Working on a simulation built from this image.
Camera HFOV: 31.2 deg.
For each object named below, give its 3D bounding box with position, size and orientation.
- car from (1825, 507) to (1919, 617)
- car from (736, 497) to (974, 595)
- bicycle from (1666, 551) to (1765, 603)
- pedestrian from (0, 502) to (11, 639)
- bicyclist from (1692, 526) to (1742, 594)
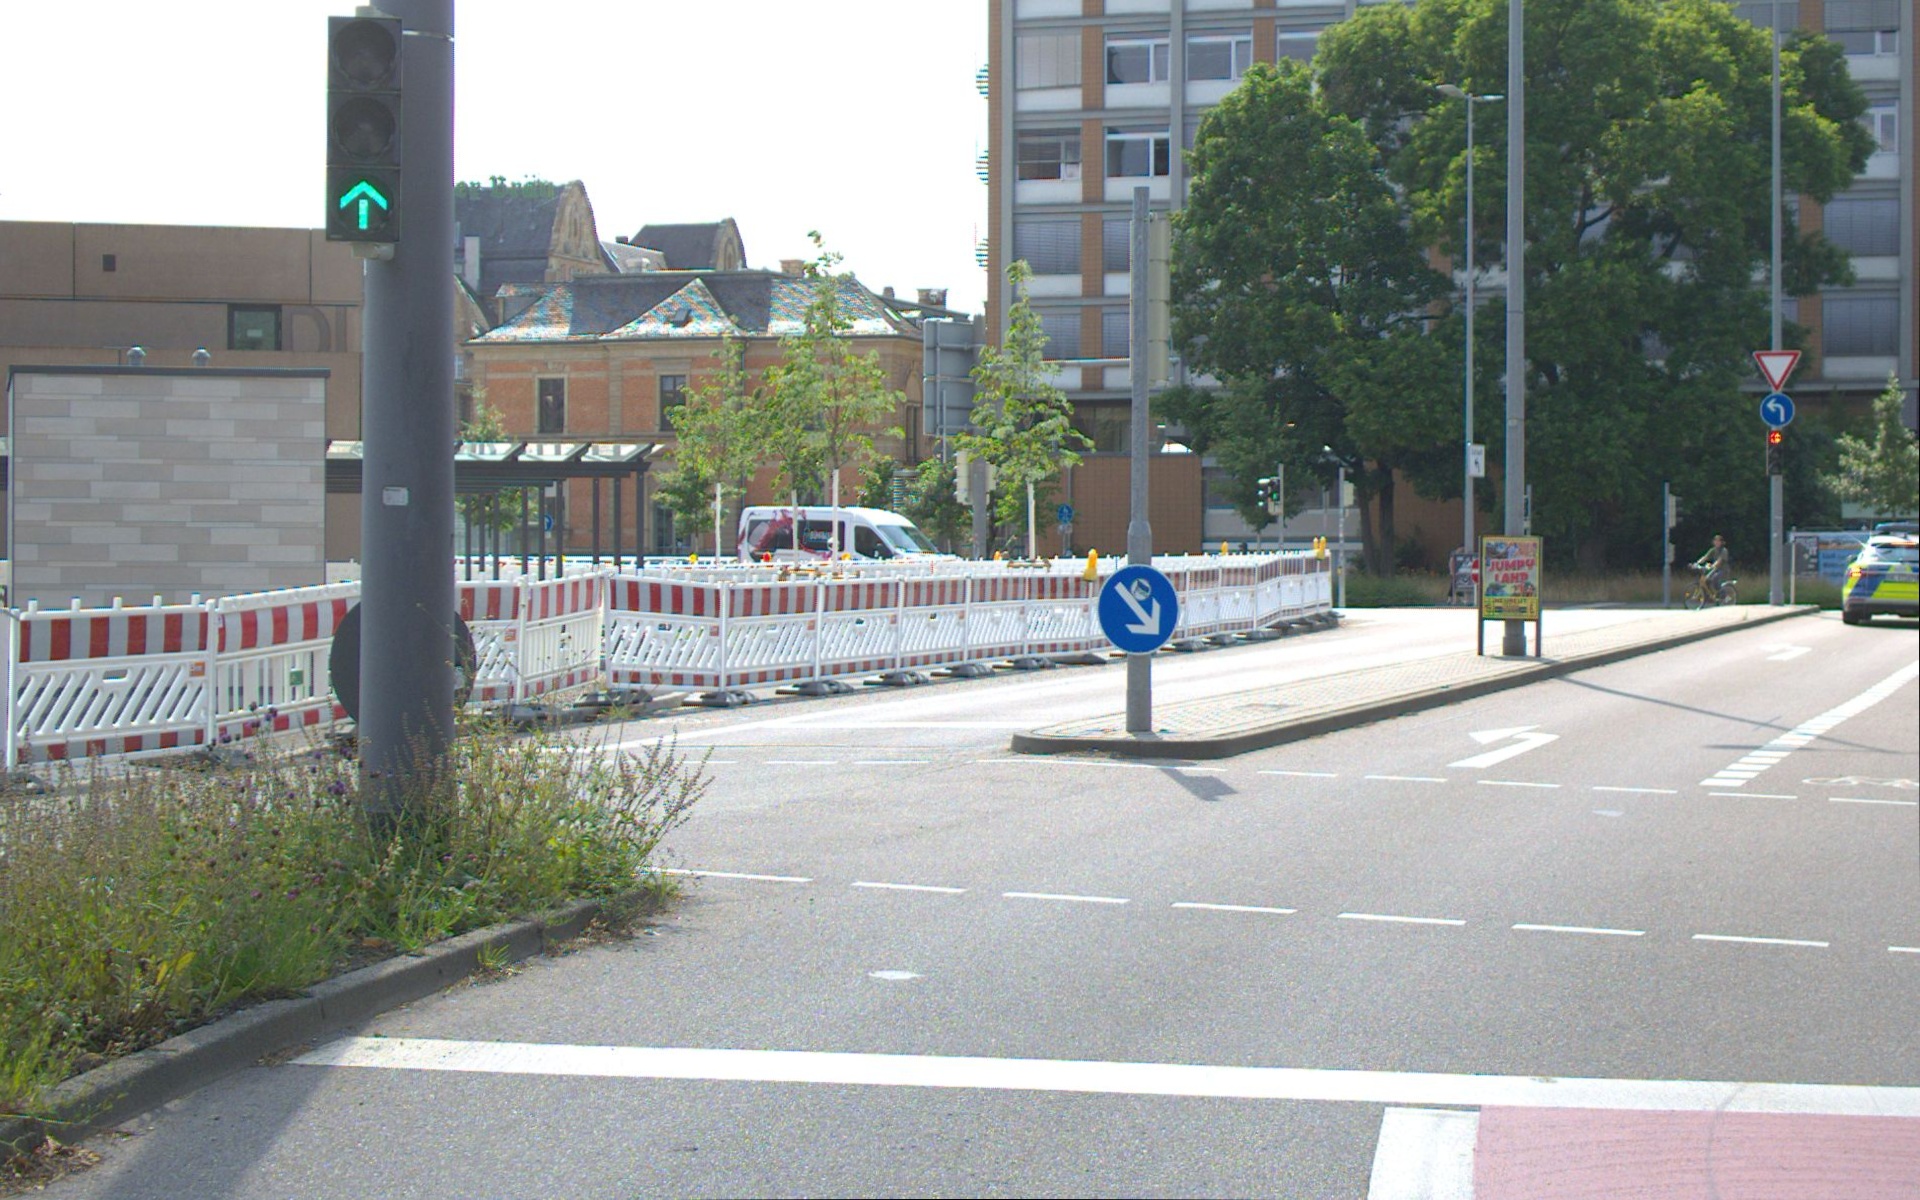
[{"bbox_3d":[15.240,-0.614,55.467,2.132,1.678,4.098,2,2,19],"label":"car"},{"bbox_3d":[-2.579,-1.299,83.250,5.583,2.311,2.296,0,1,38],"label":"car"},{"bbox_3d":[16.502,-0.510,75.073,2.183,1.080,0.636,-1,2,-27],"label":"bicycle"},{"bbox_3d":[-13.013,-0.395,45.156,0.933,1.784,1.179,1,0,-21],"label":"pedestrian"},{"bbox_3d":[16.536,-0.883,75.085,0.836,1.465,0.636,-1,2,-27],"label":"bicyclist"}]
